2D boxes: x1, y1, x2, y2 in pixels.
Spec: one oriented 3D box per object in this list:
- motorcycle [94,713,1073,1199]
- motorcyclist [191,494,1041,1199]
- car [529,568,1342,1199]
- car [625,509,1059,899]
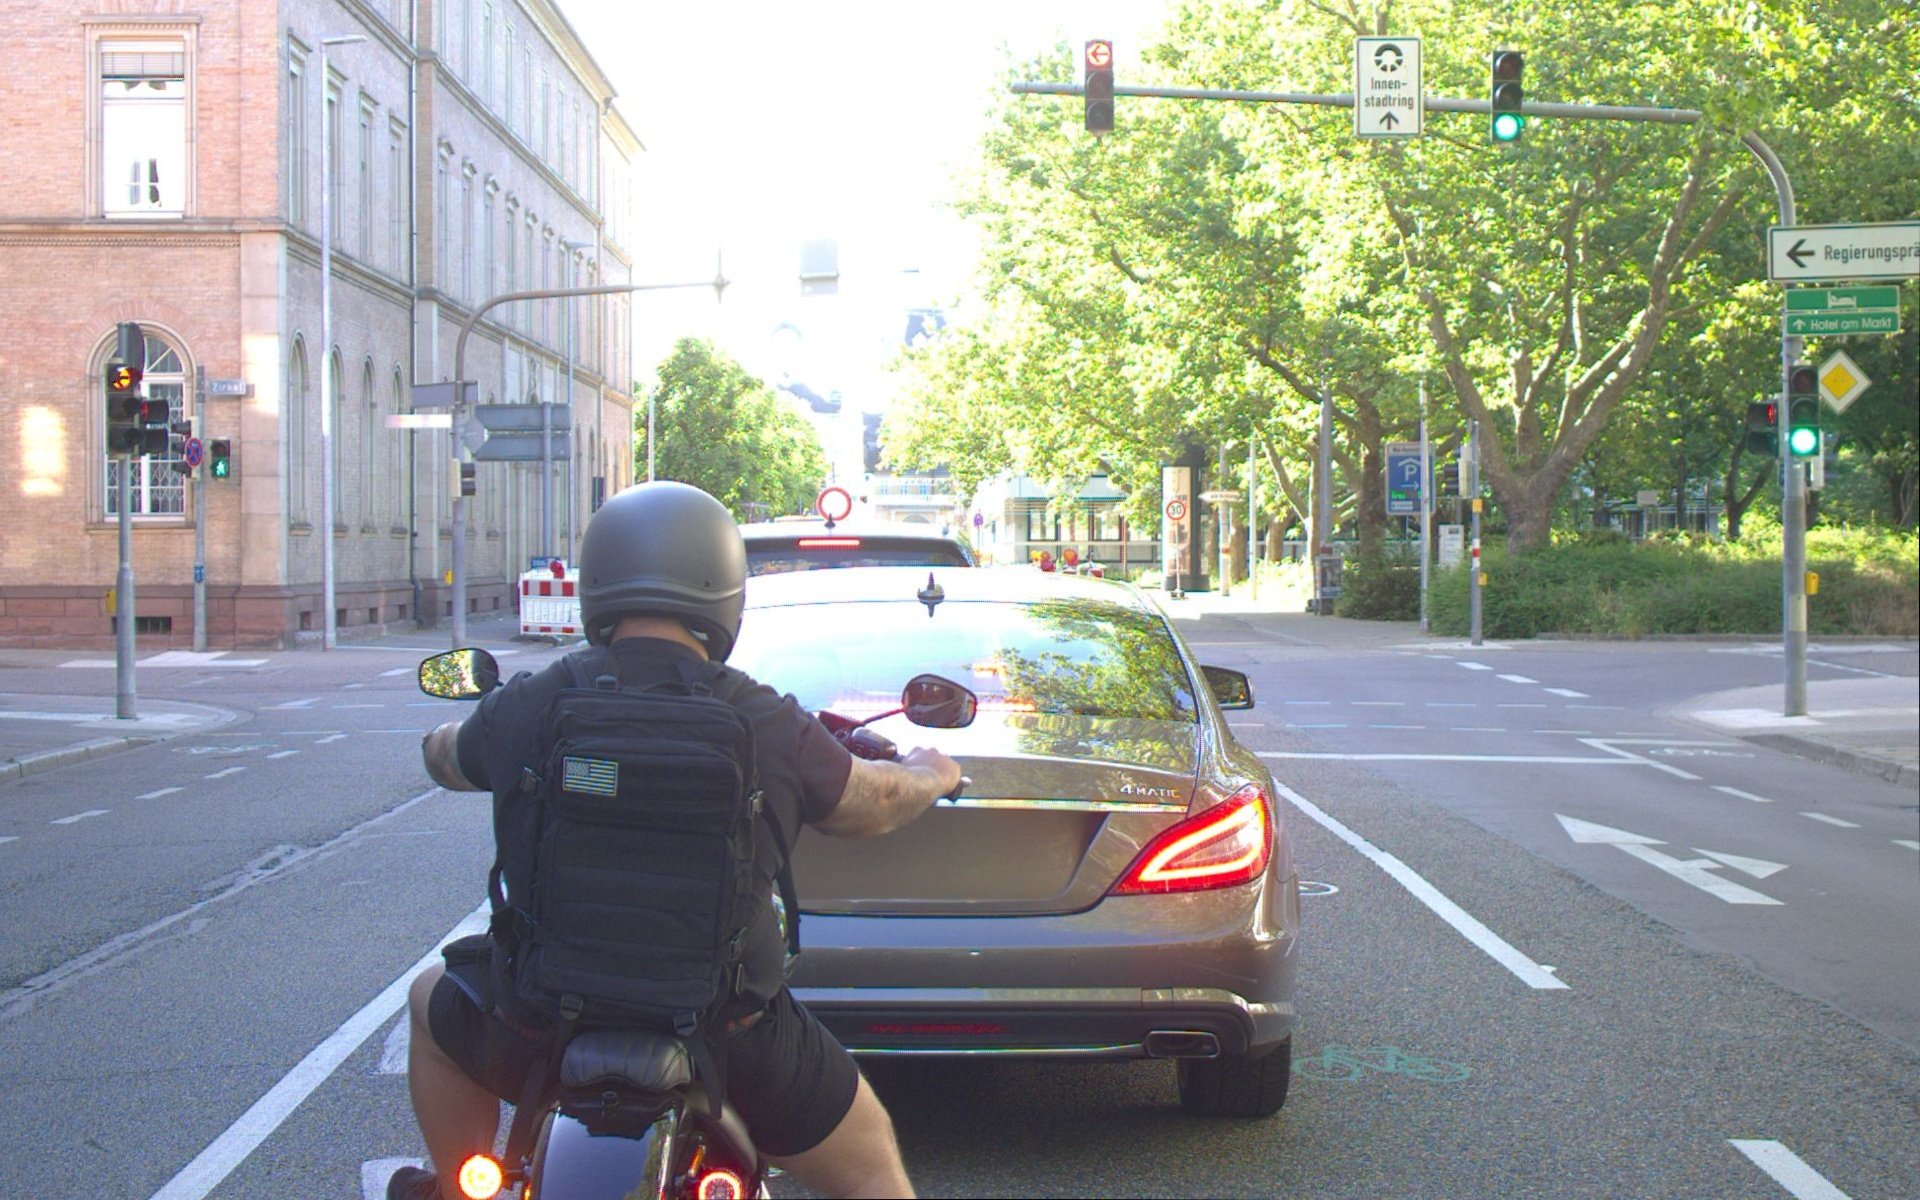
[{"bbox_3d":[-0.461,0.838,5.519,1.118,1.203,2.212,1,1,6],"label":"motorcycle"},{"bbox_3d":[-0.475,0.635,5.296,1.099,1.560,1.071,1,0,6],"label":"motorcyclist"},{"bbox_3d":[-0.077,0.640,9.684,1.822,1.432,3.806,1,1,-1],"label":"car"},{"bbox_3d":[-0.536,0.432,16.961,1.863,1.672,4.000,1,1,-1],"label":"car"}]
